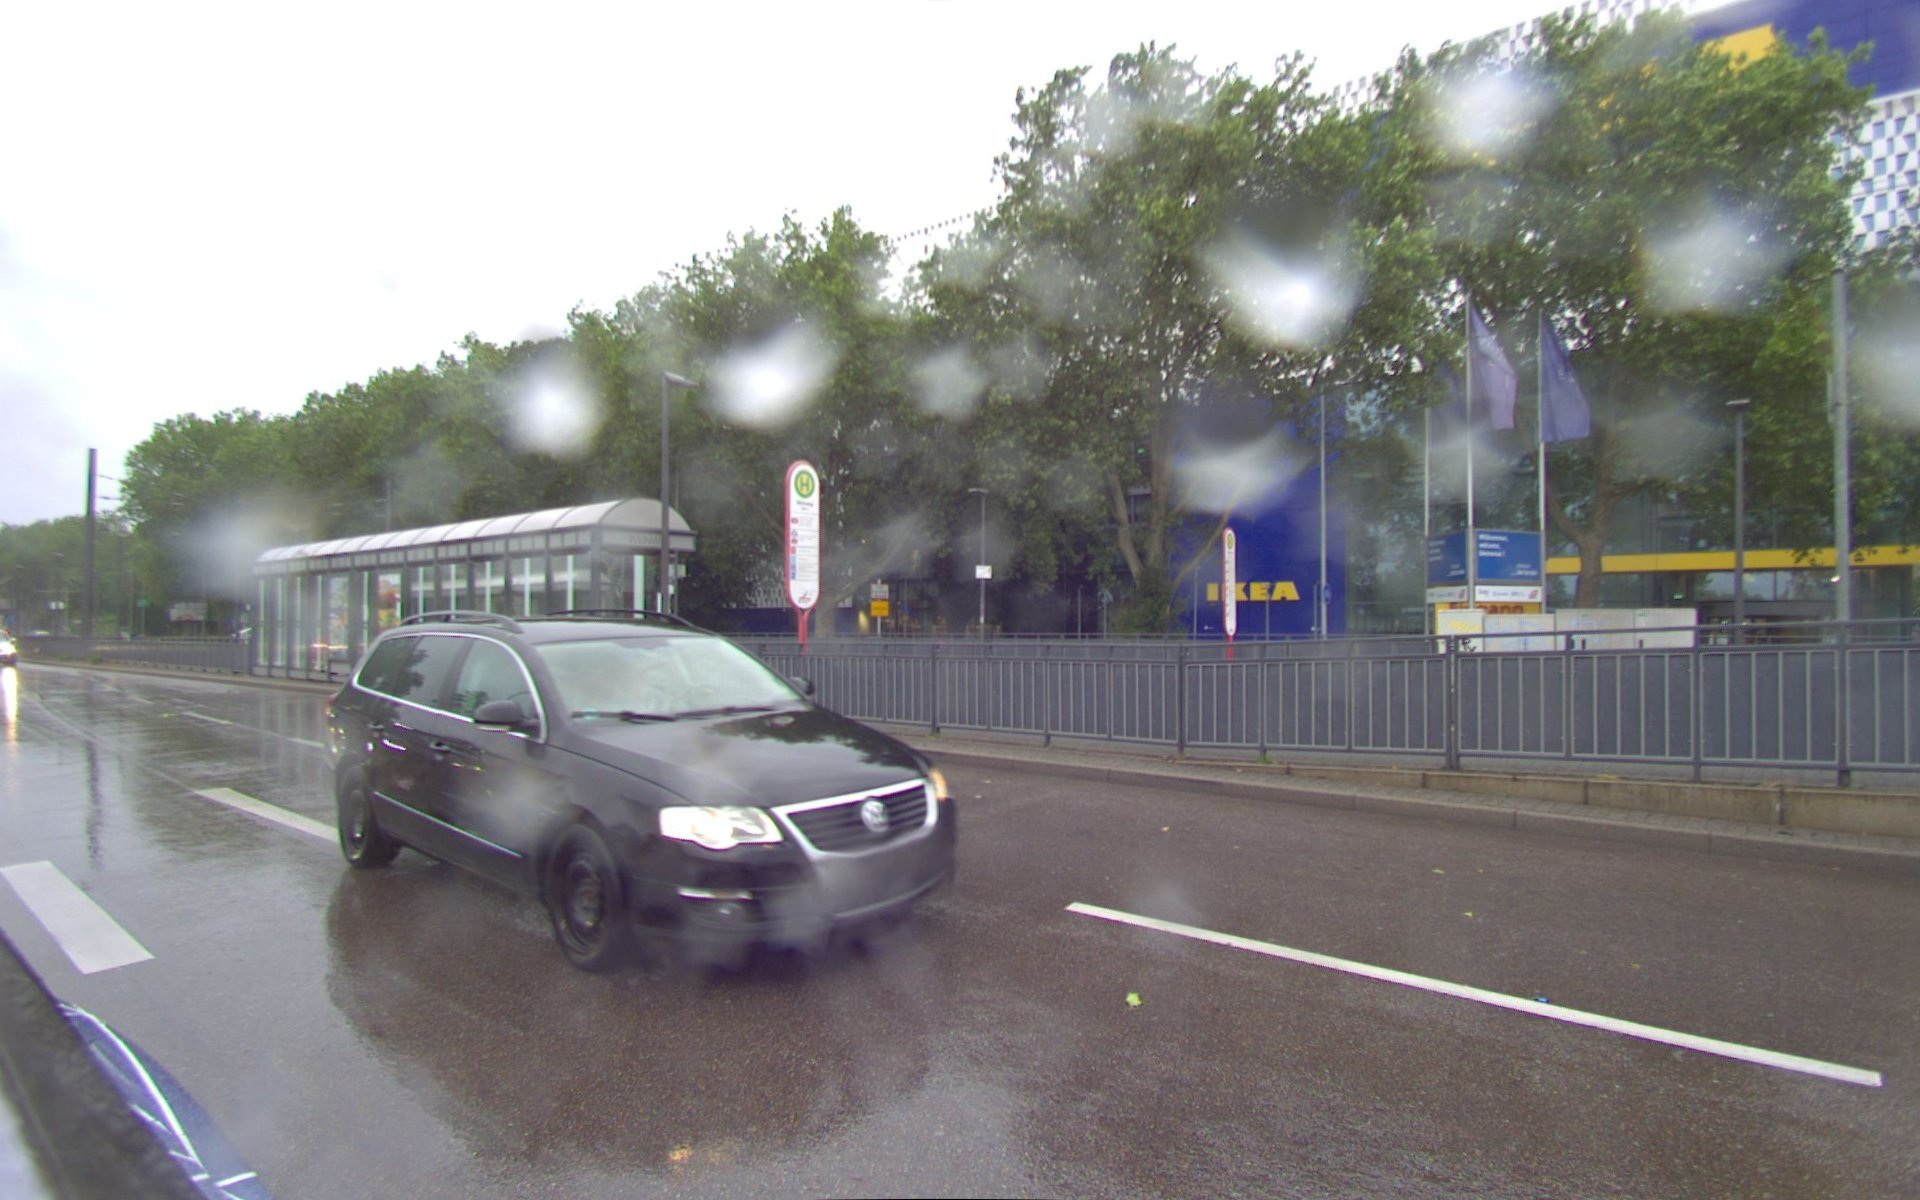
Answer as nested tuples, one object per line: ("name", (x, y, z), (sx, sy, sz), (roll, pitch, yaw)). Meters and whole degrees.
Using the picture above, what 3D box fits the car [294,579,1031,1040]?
("car", (-1.959, 0.704, 5.537), (4.596, 1.512, 1.752), (-1, 0, 43))

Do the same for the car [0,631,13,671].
("car", (-41.128, 2.140, 42.338), (3.997, 1.618, 1.771), (-1, 0, 40))
